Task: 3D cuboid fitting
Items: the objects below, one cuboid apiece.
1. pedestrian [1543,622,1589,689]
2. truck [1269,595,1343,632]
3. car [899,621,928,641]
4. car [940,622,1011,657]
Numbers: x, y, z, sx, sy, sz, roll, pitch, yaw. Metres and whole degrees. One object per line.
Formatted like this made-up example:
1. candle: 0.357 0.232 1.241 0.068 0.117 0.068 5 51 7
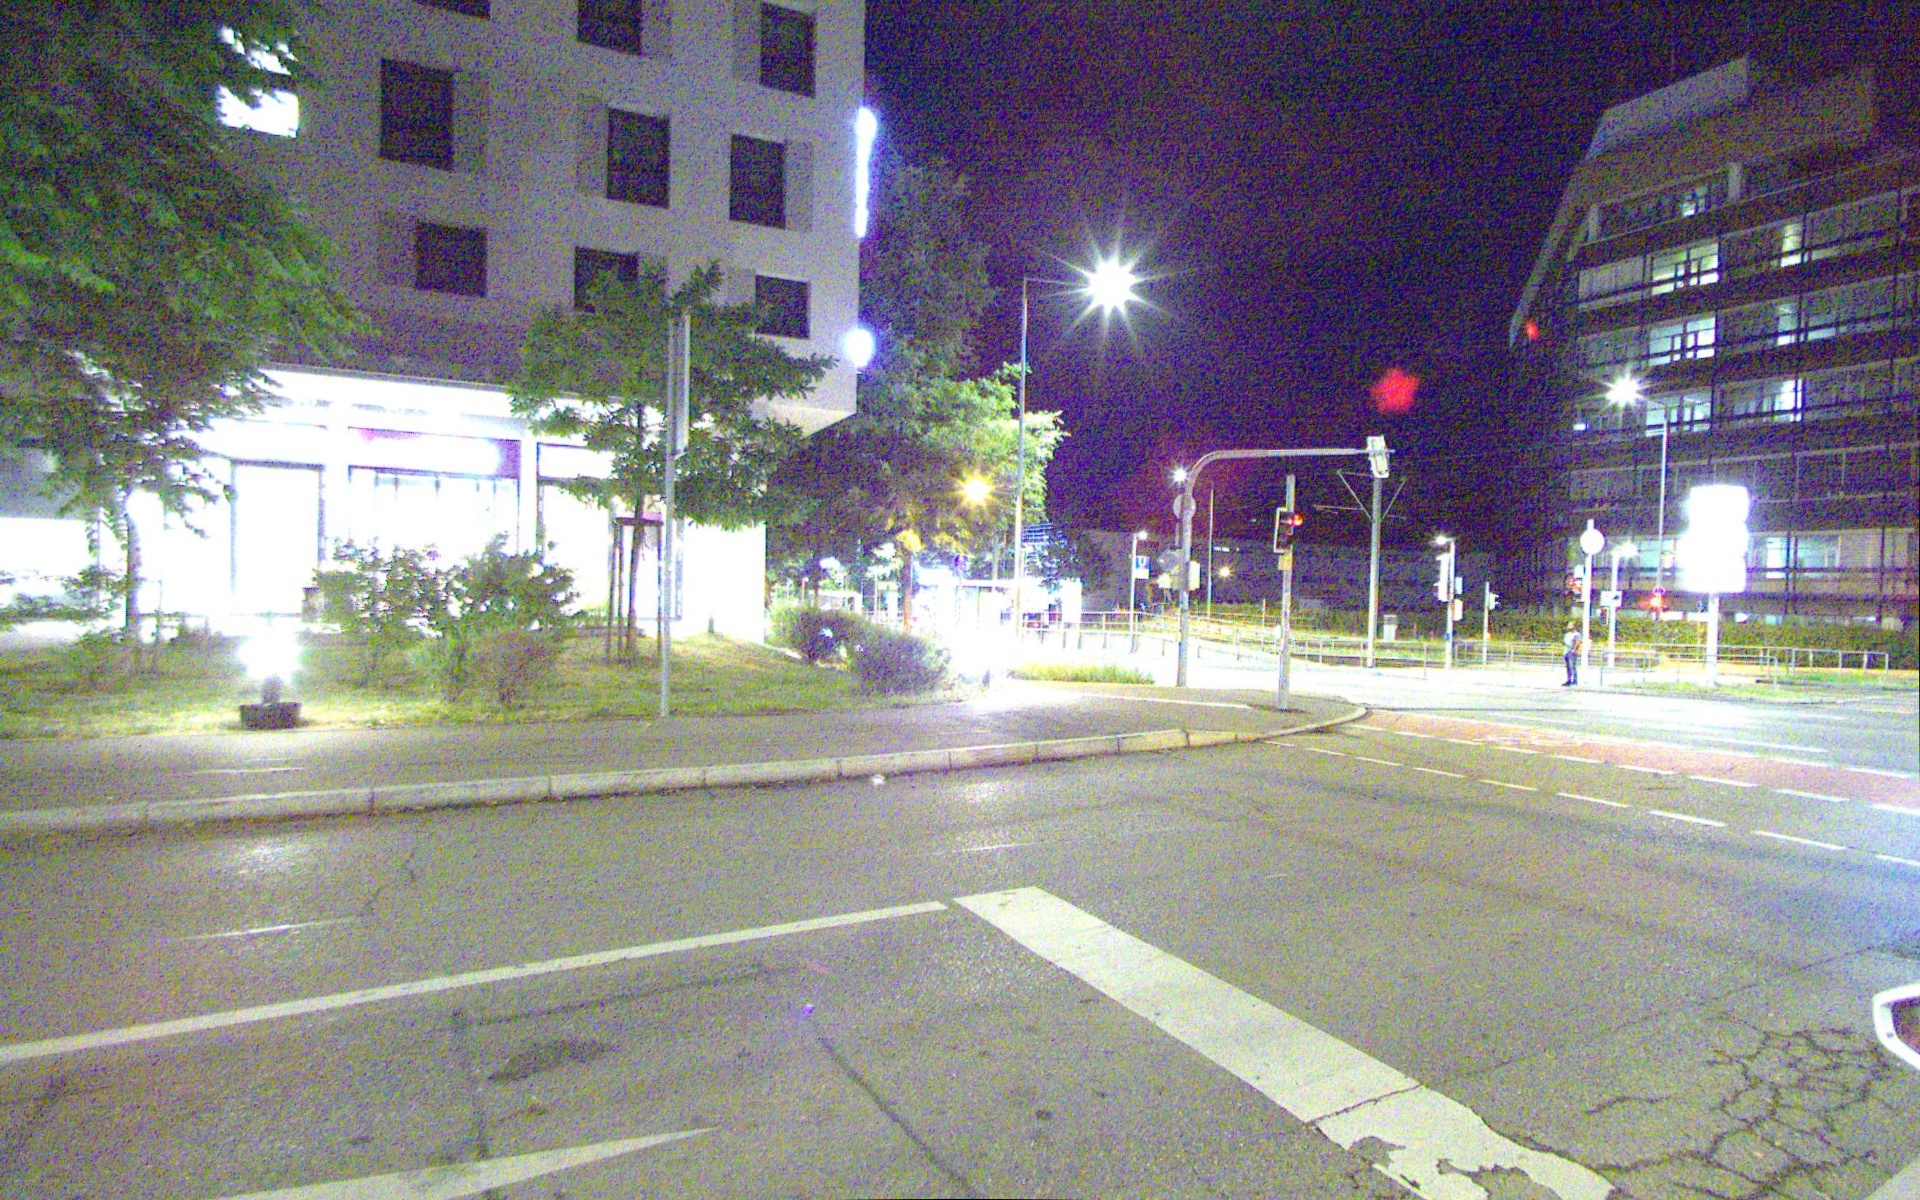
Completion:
1. pedestrian: 15.489 1.418 25.673 0.854 1.656 0.665 2 0 -34
2. truck: 30.869 1.180 89.822 2.877 3.129 5.873 2 0 -28
3. car: -4.891 3.272 105.390 1.970 2.040 3.982 2 -3 -20
4. car: 0.654 1.785 46.694 1.793 1.522 4.177 0 -1 -23
